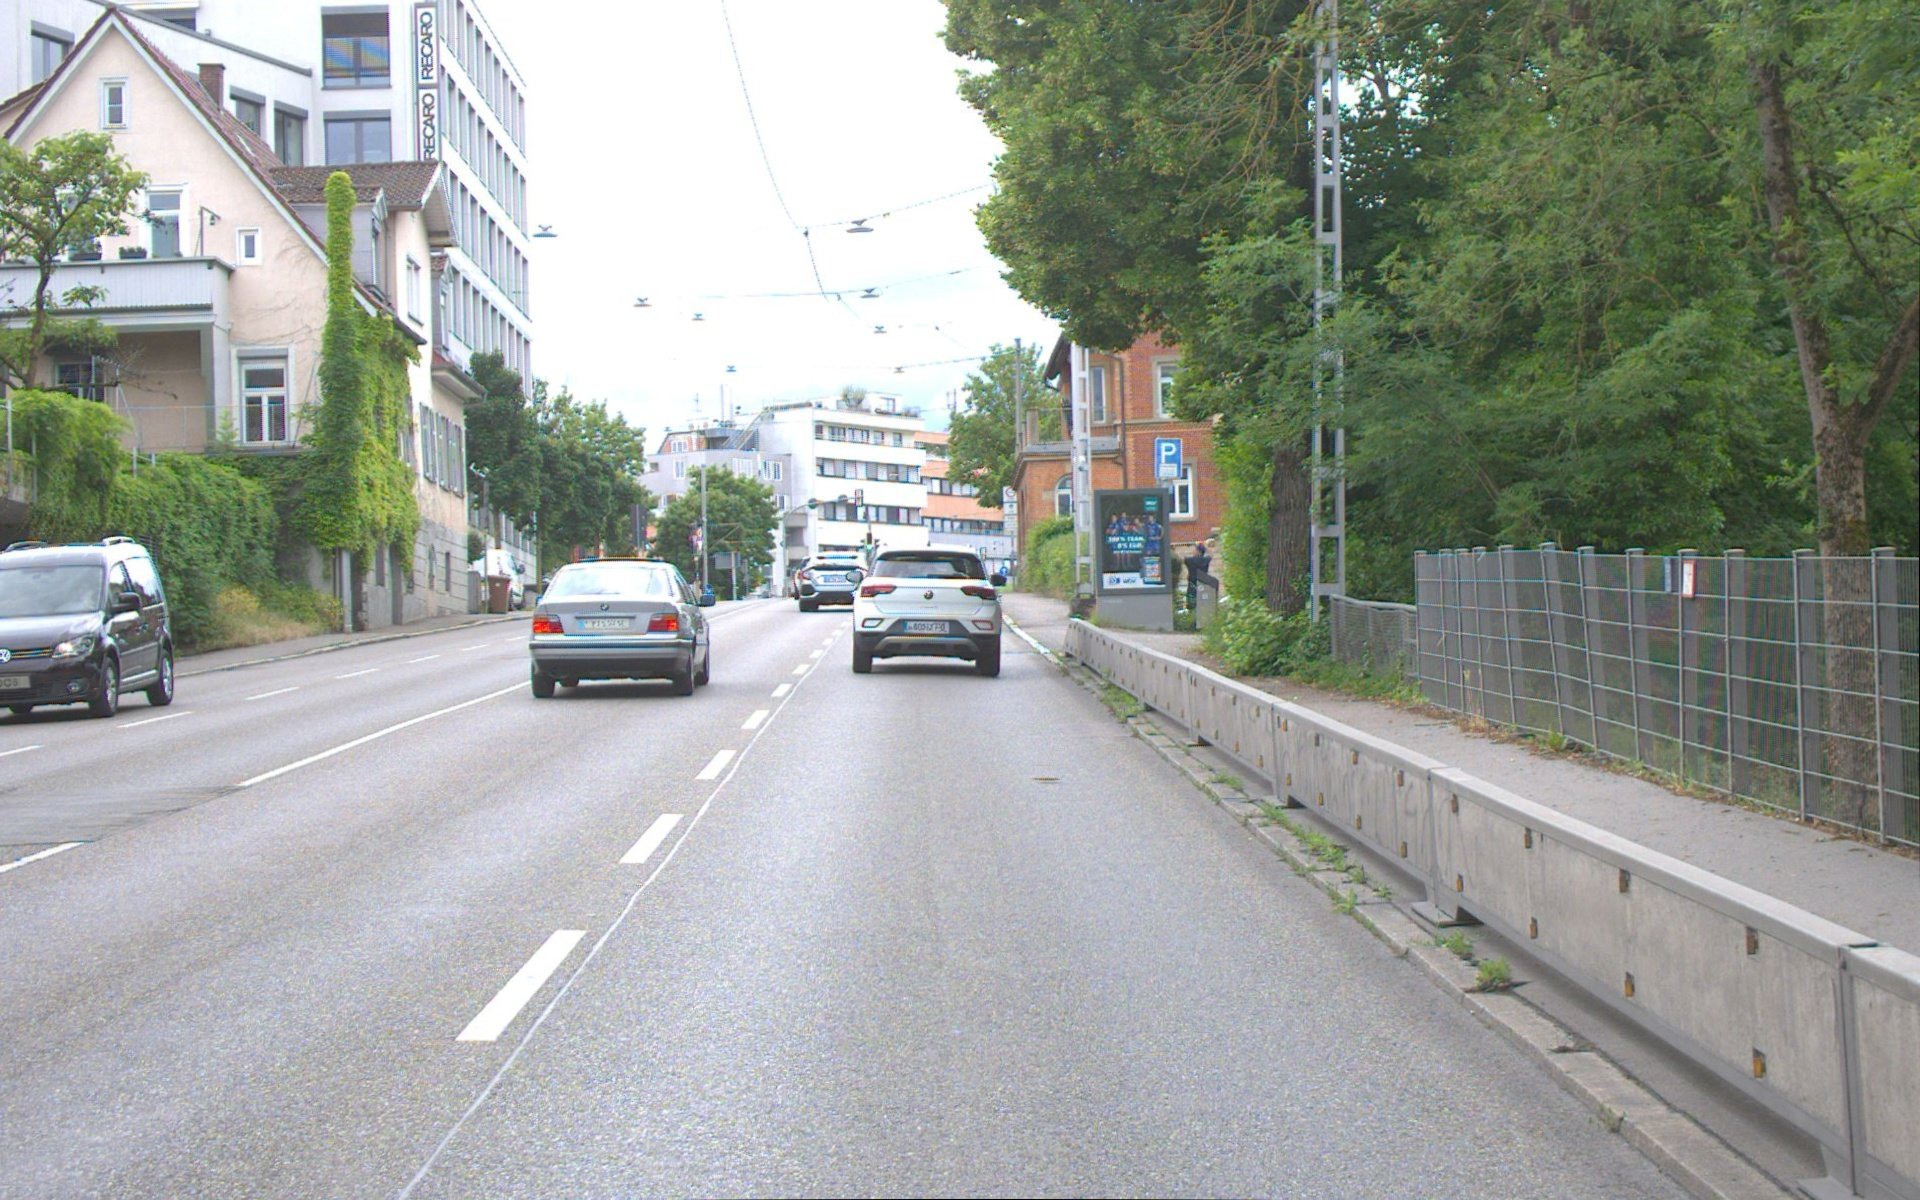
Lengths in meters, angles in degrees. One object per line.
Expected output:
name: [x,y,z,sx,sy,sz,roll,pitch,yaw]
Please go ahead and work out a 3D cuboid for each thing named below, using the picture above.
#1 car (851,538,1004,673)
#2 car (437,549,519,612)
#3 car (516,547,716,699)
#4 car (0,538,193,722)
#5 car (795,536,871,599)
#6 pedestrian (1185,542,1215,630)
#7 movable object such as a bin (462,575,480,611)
car: [-0.434,0.036,41.998,1.780,1.573,4.000,0,1,-2]
car: [-13.454,-0.564,96.127,1.993,1.695,4.001,-1,1,-5]
car: [-3.533,0.196,35.876,1.706,1.459,4.000,-1,1,-1]
car: [-9.453,0.273,36.036,1.816,1.778,4.495,-2,1,-1]
car: [-3.021,-0.799,82.484,1.706,1.459,4.000,-1,1,-1]
pedestrian: [4.712,-0.271,67.555,0.509,1.711,0.465,-1,1,-2]
movable object such as a bin: [-13.267,-0.187,93.267,0.426,0.962,0.359,1,-1,-3]
